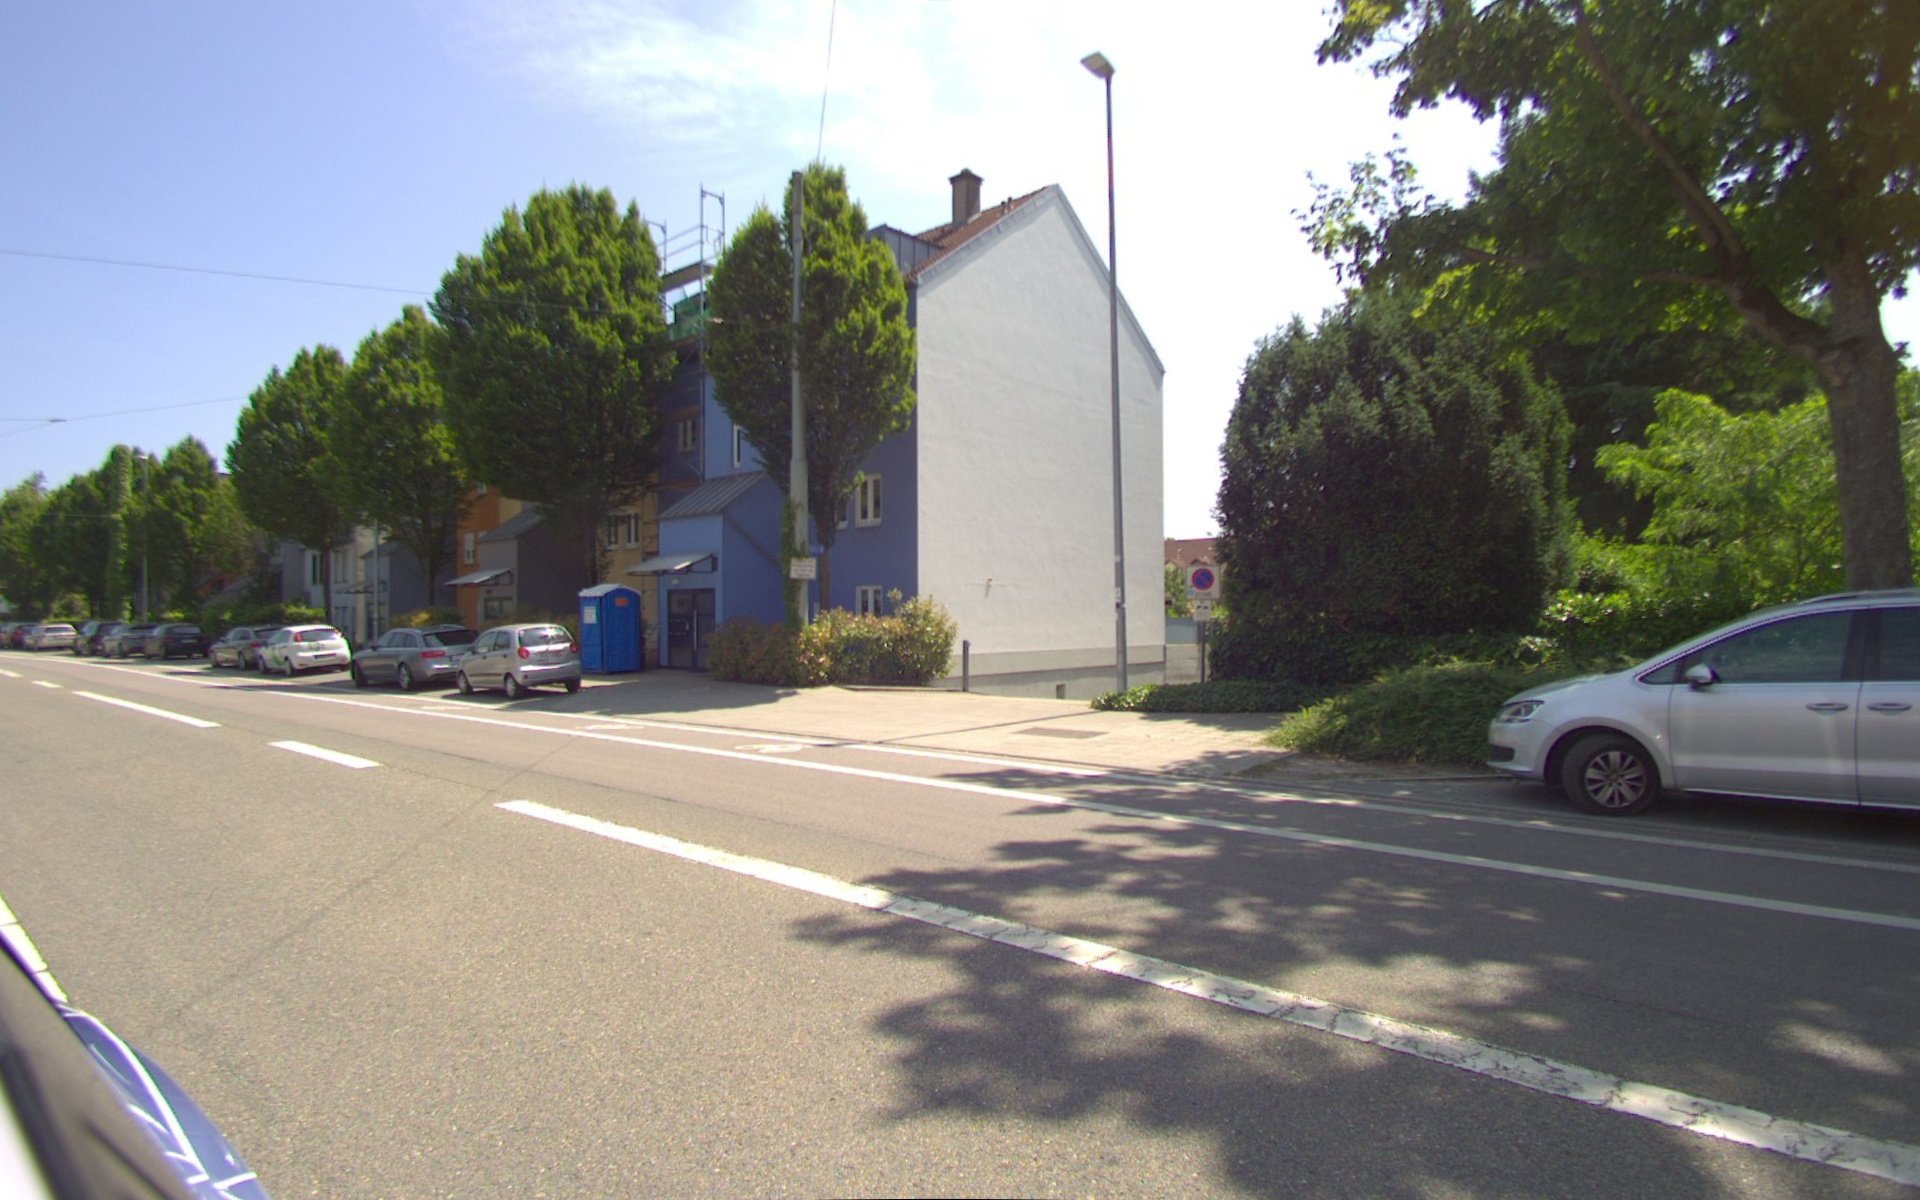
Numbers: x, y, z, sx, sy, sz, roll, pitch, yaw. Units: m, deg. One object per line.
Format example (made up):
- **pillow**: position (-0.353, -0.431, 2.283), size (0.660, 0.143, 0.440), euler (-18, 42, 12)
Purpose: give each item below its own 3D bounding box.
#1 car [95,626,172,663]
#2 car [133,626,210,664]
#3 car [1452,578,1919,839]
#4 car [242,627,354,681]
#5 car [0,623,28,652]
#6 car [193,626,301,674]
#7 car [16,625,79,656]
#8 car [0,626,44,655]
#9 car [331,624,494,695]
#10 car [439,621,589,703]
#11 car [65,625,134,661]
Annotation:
- **car**: position (-37.696, 2.000, 46.126), size (4.752, 1.507, 1.807), euler (-2, 0, 39)
- **car**: position (-33.474, 1.895, 42.936), size (4.254, 1.443, 1.732), euler (-1, 1, 40)
- **car**: position (6.466, 0.706, 7.460), size (4.778, 1.677, 1.853), euler (-2, -1, 41)
- **car**: position (-21.031, 1.661, 32.100), size (4.417, 1.453, 1.729), euler (-2, 3, 41)
- **car**: position (-60.185, 2.338, 63.230), size (4.548, 1.808, 1.976), euler (-1, -1, 35)
- **car**: position (-25.077, 1.724, 35.530), size (4.744, 1.440, 1.688), euler (-2, 3, 38)
- **car**: position (-51.169, 2.277, 56.716), size (4.490, 1.594, 1.823), euler (-2, 0, 38)
- **car**: position (-56.025, 2.413, 60.085), size (3.673, 1.606, 1.586), euler (-2, 0, 35)
- **car**: position (-13.813, 1.457, 25.373), size (5.129, 1.461, 1.769), euler (-2, 2, 40)
- **car**: position (-9.714, 1.288, 21.947), size (3.447, 1.506, 1.577), euler (-2, 3, 41)
- **car**: position (-42.276, 2.083, 49.716), size (4.142, 1.601, 1.750), euler (-2, 0, 38)
